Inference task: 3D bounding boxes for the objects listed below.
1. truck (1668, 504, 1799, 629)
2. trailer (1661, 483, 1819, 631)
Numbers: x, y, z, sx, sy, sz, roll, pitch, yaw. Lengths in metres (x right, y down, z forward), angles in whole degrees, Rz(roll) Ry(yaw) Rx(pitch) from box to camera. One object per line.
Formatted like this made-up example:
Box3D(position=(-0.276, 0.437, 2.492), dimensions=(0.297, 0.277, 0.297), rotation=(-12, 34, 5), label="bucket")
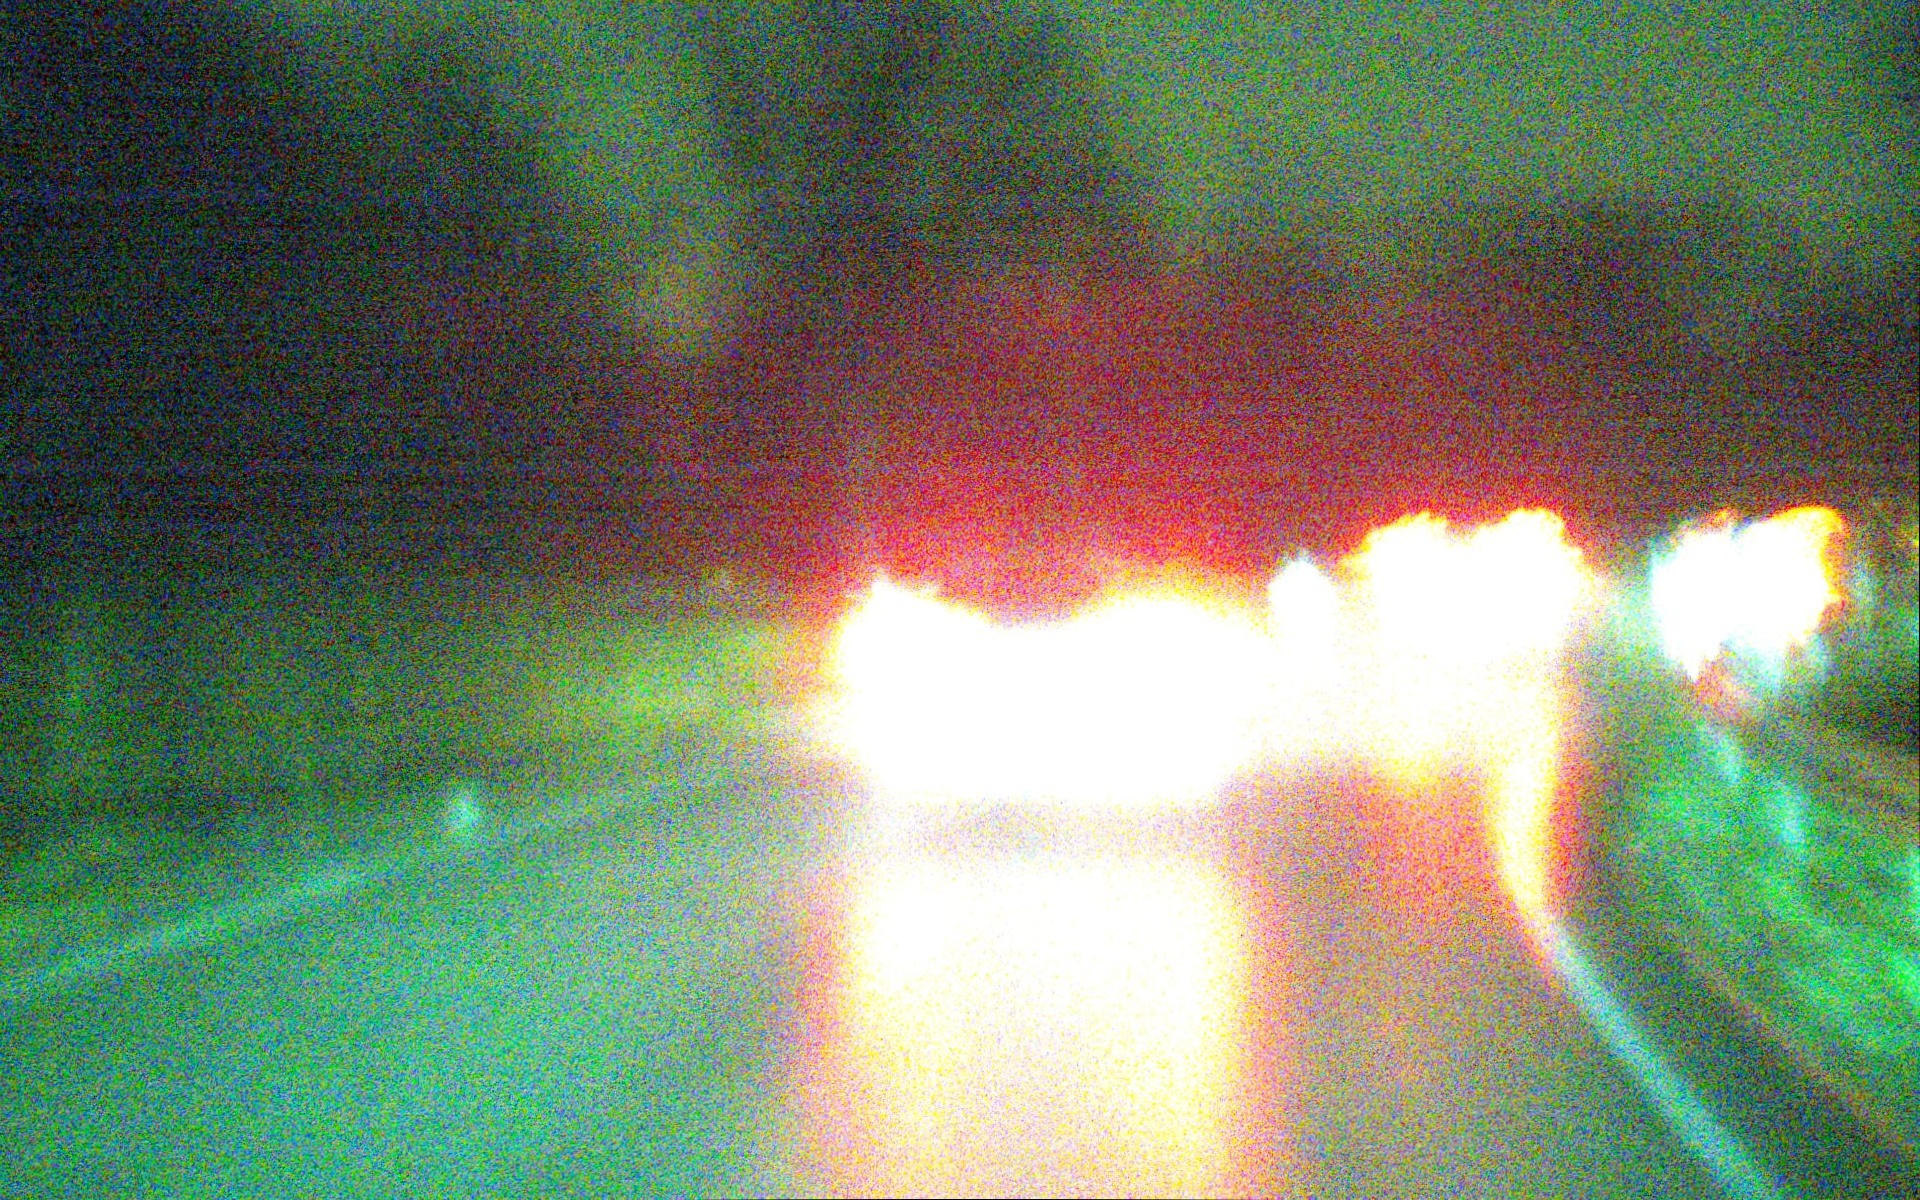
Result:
Box3D(position=(13.588, -0.545, 60.260), dimensions=(2.071, 2.007, 4.877), rotation=(-3, -1, 14), label="truck")
Box3D(position=(12.151, -0.560, 53.905), dimensions=(2.079, 2.007, 10.641), rotation=(-3, -1, 12), label="trailer")
